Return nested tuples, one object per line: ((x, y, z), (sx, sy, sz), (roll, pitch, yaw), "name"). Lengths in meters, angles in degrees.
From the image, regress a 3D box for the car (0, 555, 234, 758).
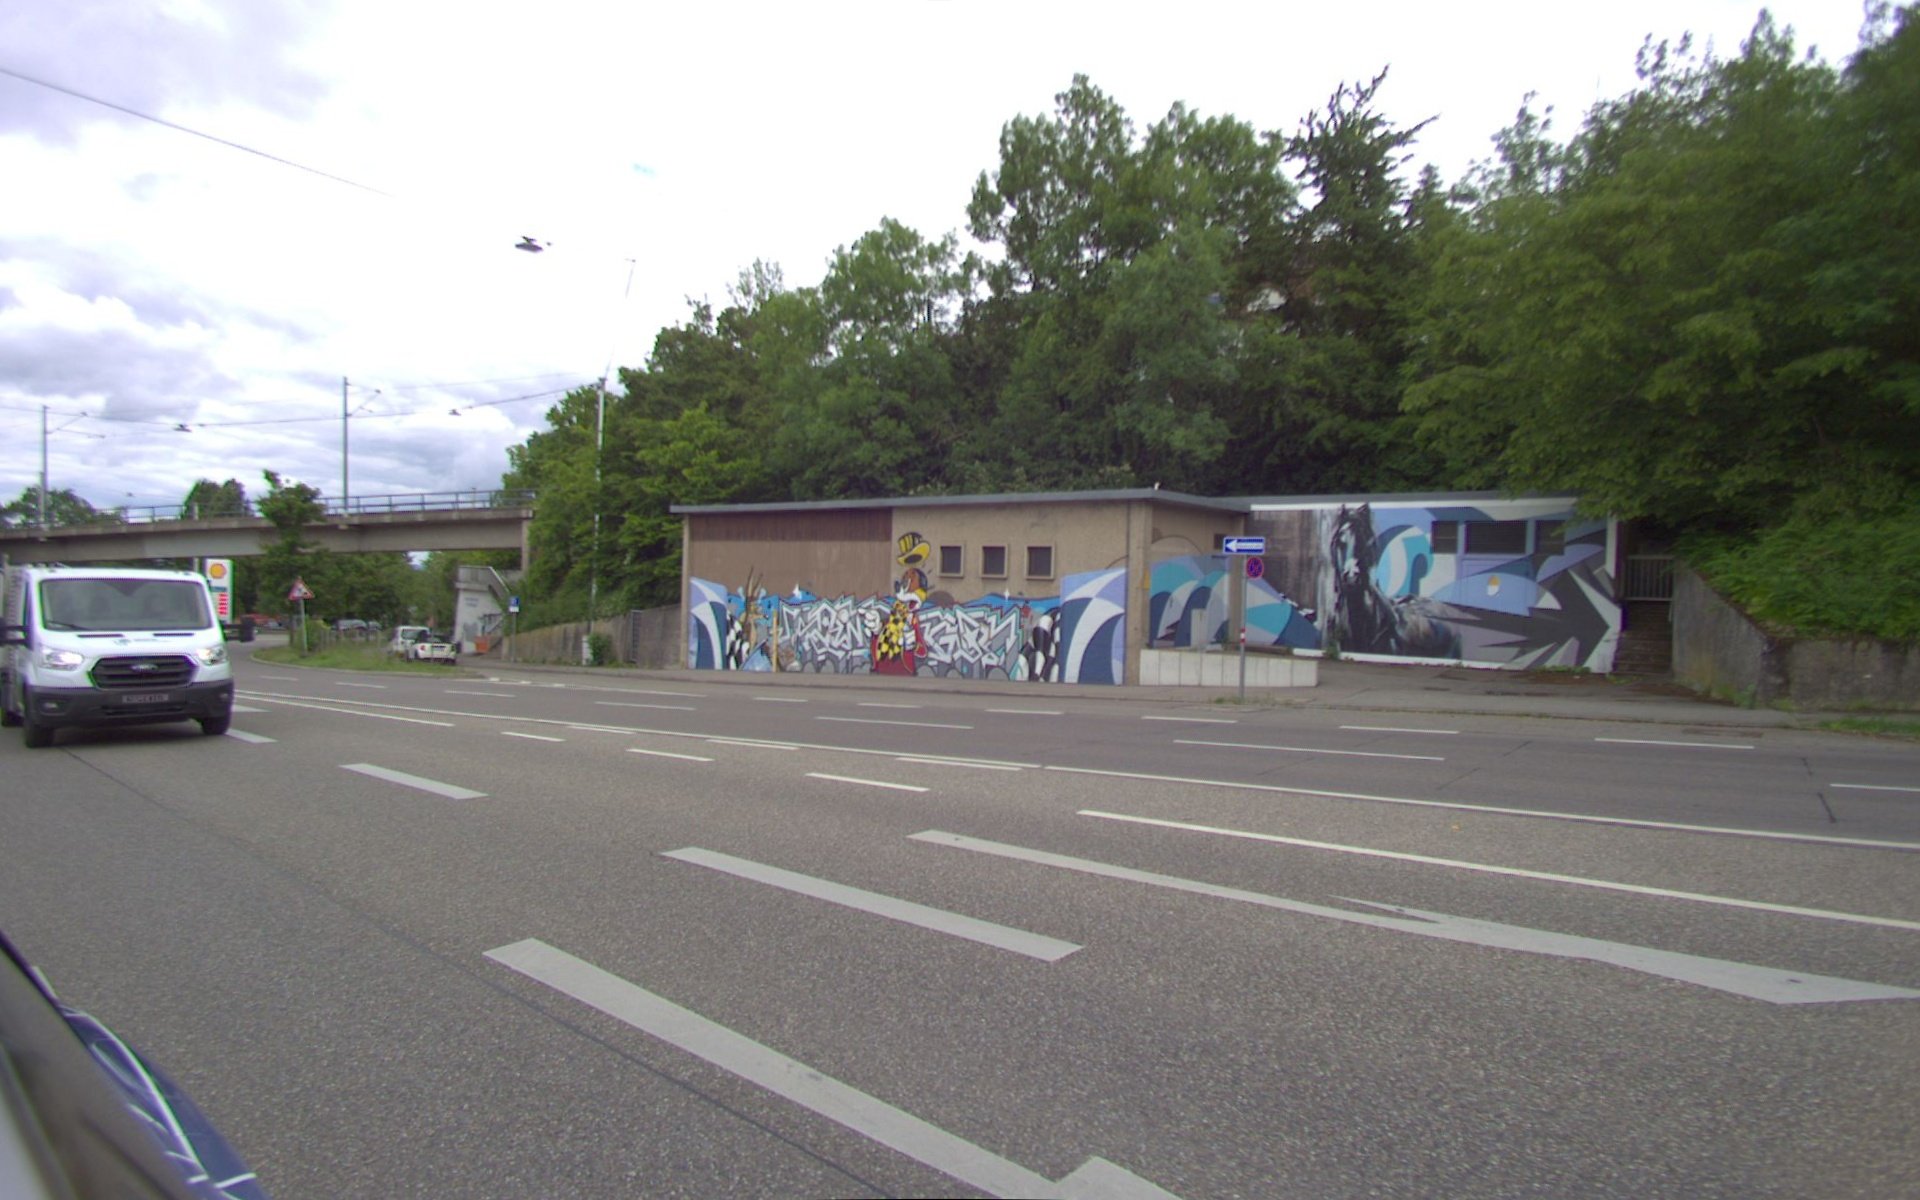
((-11.860, 0.639, 13.807), (6.268, 2.190, 1.972), (-1, 0, 43), "car")

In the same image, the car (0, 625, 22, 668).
((-33.699, 1.561, 34.716), (3.997, 1.422, 1.711), (-1, -3, 40), "car")

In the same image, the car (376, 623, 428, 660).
((-29.468, 2.191, 53.391), (1.743, 1.799, 4.475), (5, -4, -36), "car")

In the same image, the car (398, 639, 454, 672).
((-25.393, 2.627, 48.062), (1.743, 1.430, 3.812), (4, -3, -36), "car")
